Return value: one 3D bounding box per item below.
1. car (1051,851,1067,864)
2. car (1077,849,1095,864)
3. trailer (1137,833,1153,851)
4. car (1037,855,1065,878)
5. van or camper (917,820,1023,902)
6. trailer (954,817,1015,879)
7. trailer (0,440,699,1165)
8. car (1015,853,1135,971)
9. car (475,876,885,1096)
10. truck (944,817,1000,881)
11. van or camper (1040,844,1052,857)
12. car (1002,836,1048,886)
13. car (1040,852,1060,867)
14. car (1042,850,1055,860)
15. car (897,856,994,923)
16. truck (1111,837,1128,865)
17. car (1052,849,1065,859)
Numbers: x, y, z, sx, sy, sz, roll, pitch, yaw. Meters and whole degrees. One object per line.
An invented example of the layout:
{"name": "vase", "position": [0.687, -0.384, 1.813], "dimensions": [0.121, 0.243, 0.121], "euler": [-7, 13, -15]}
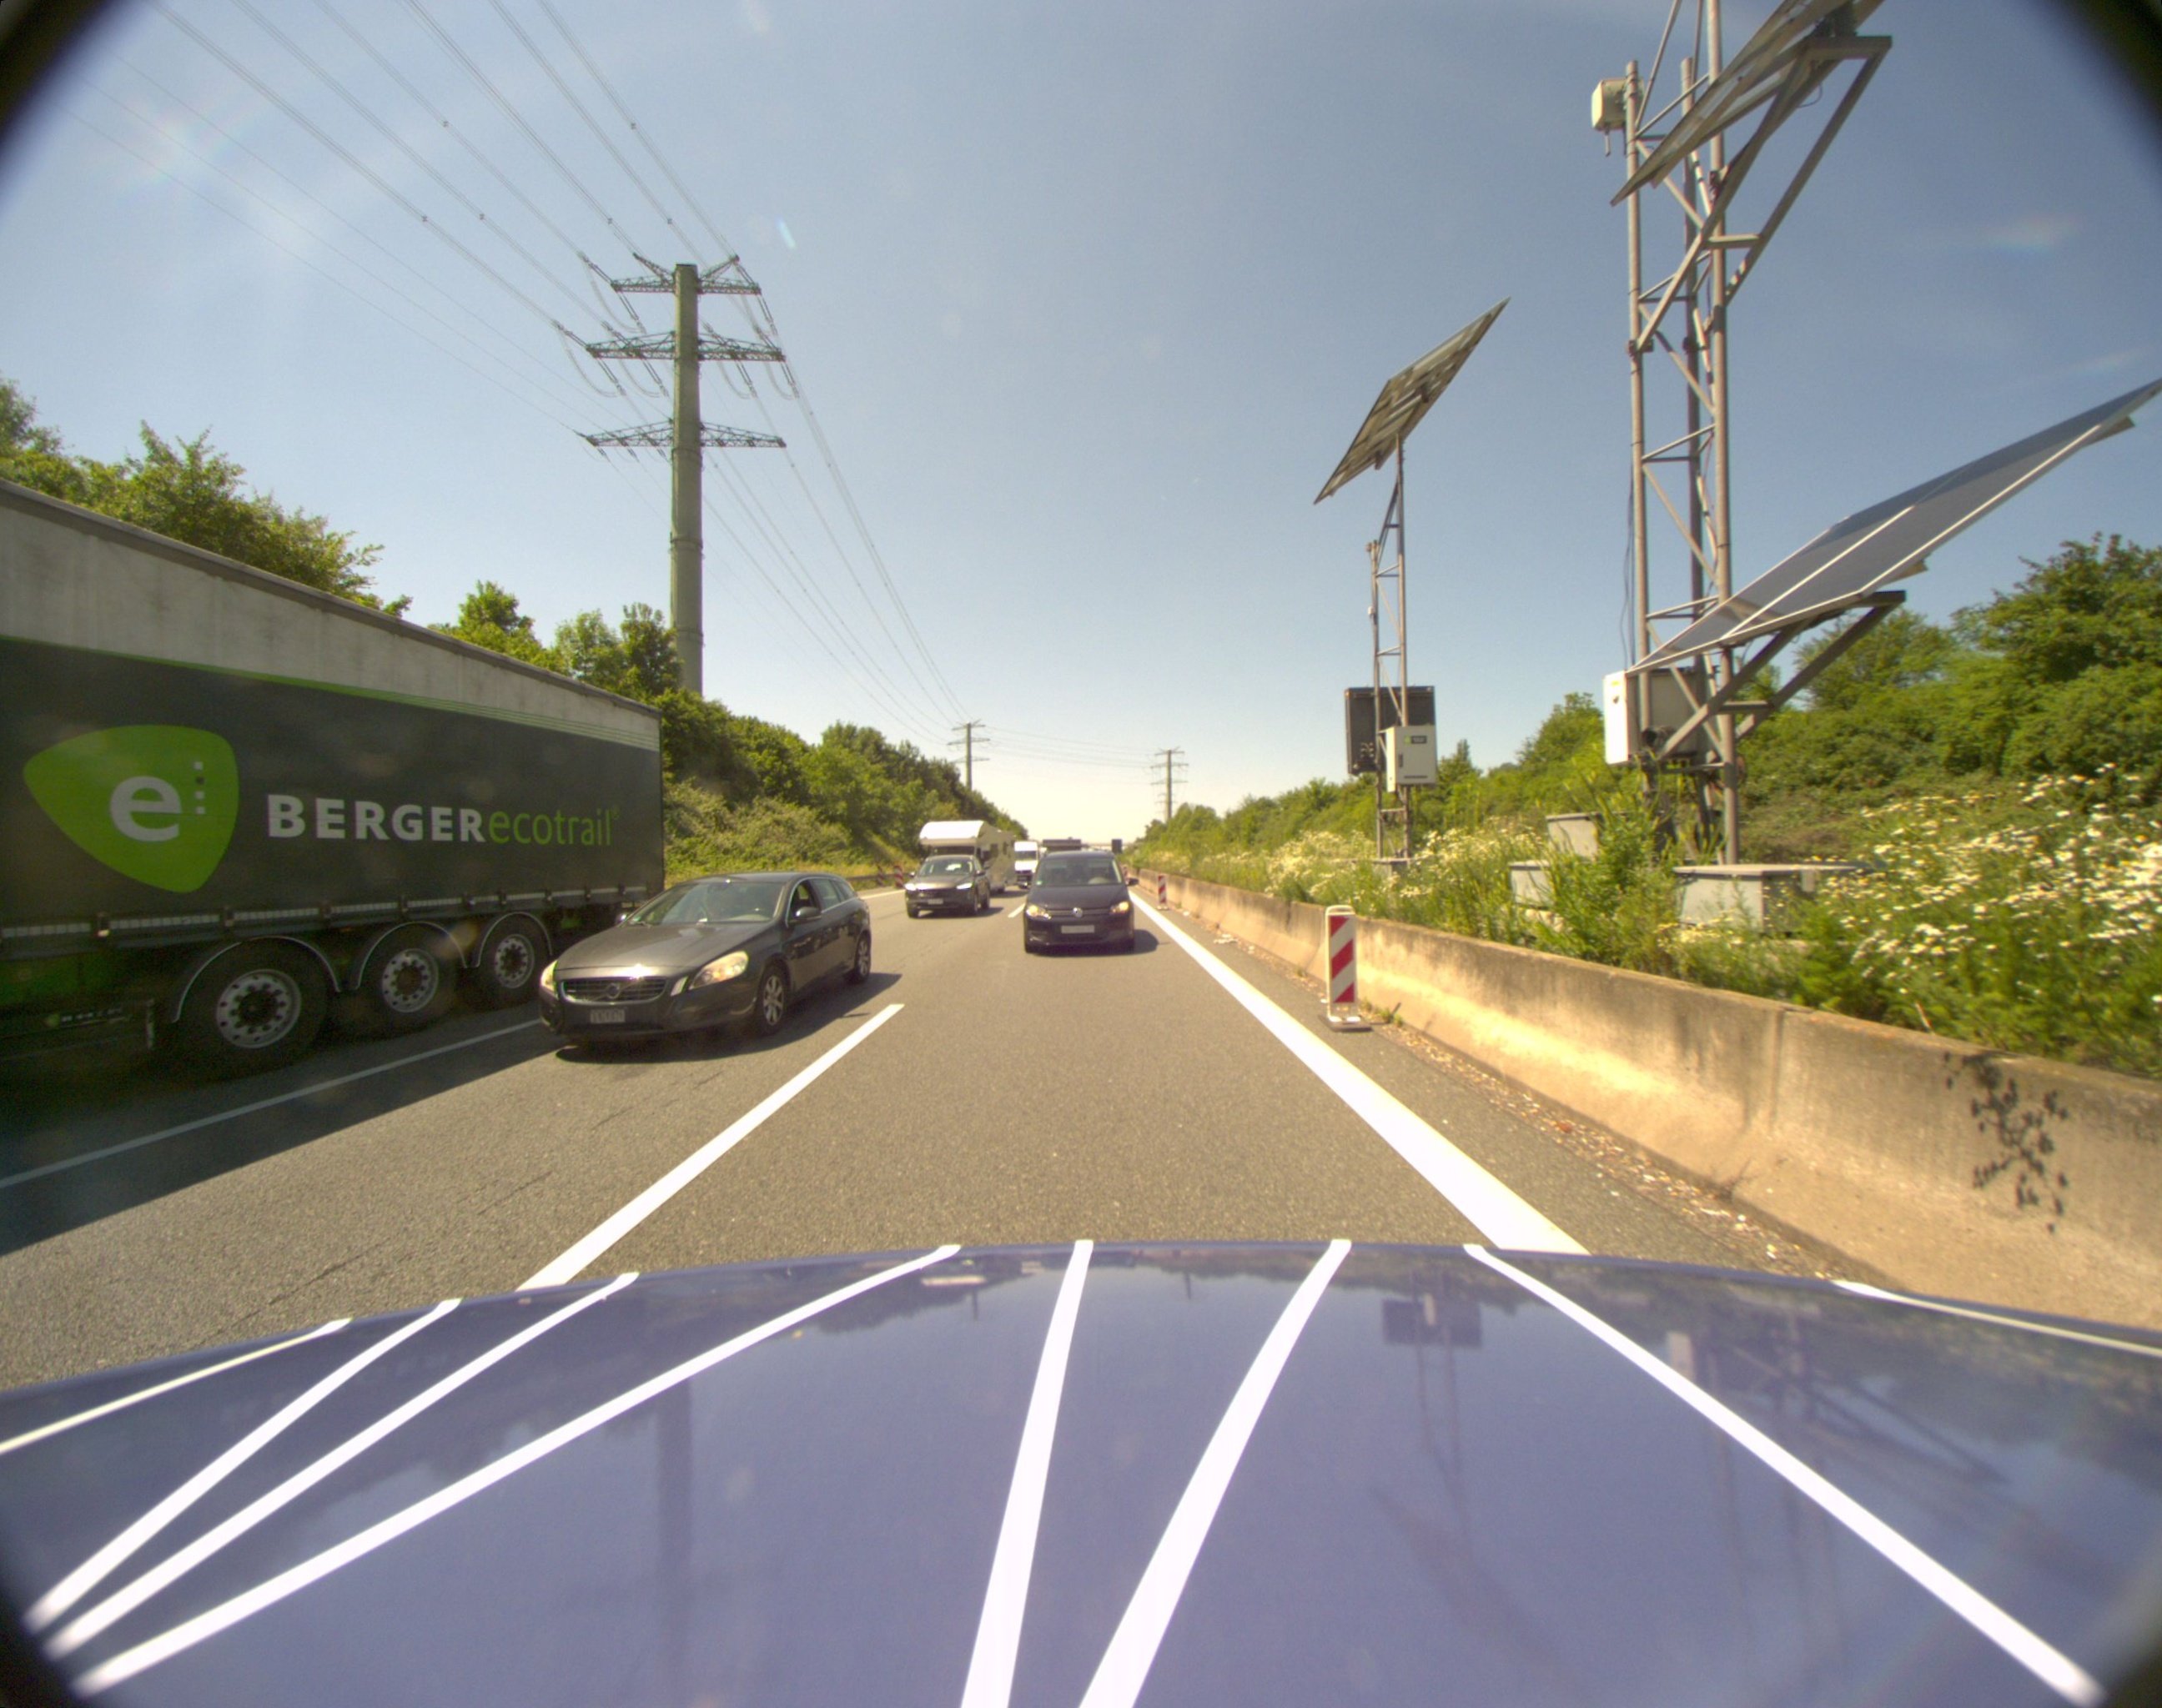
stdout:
{"name": "car", "position": [-2.782, 0.381, 94.794], "dimensions": [1.720, 1.510, 3.874], "euler": [-2, 1, 1]}
{"name": "car", "position": [0.581, 0.286, 90.263], "dimensions": [1.973, 1.682, 3.874], "euler": [-2, 1, 1]}
{"name": "trailer", "position": [16.105, -3.007, 192.772], "dimensions": [2.967, 4.378, 12.905], "euler": [-2, 1, 1]}
{"name": "car", "position": [-2.200, 0.912, 56.471], "dimensions": [1.720, 1.510, 3.874], "euler": [-2, 1, 1]}
{"name": "van or camper", "position": [-4.509, 0.212, 32.657], "dimensions": [2.373, 3.026, 7.636], "euler": [-2, 1, 7]}
{"name": "trailer", "position": [-7.266, -0.470, 59.426], "dimensions": [2.774, 4.239, 12.877], "euler": [-2, 1, 1]}
{"name": "trailer", "position": [-7.368, -0.262, 4.961], "dimensions": [2.790, 4.024, 13.110], "euler": [-2, 1, 1]}
{"name": "car", "position": [-0.057, 0.854, 13.348], "dimensions": [1.700, 1.641, 4.219], "euler": [-2, 1, 1]}
{"name": "car", "position": [-3.595, 1.060, 7.966], "dimensions": [1.799, 1.411, 4.509], "euler": [-2, 1, 1]}
{"name": "truck", "position": [-7.393, -0.352, 52.314], "dimensions": [2.792, 4.121, 5.636], "euler": [-2, 1, 1]}
{"name": "van or camper", "position": [-7.164, -0.710, 154.939], "dimensions": [1.978, 2.511, 4.369], "euler": [-2, 1, 1]}
{"name": "car", "position": [-3.265, 0.358, 45.764], "dimensions": [2.042, 2.703, 6.705], "euler": [-2, 1, 1]}
{"name": "car", "position": [-3.220, 0.558, 79.122], "dimensions": [1.720, 1.510, 3.874], "euler": [-2, 1, 1]}
{"name": "car", "position": [-5.338, 0.209, 125.434], "dimensions": [1.720, 1.510, 3.874], "euler": [-2, 1, 1]}
{"name": "car", "position": [-3.712, 0.911, 21.574], "dimensions": [1.893, 1.602, 4.219], "euler": [-2, 1, 1]}
{"name": "truck", "position": [4.676, -0.418, 93.328], "dimensions": [1.892, 3.263, 5.590], "euler": [-2, 1, 1]}
{"name": "car", "position": [-3.445, -0.007, 118.052], "dimensions": [1.720, 1.510, 3.874], "euler": [-2, 1, 1]}
